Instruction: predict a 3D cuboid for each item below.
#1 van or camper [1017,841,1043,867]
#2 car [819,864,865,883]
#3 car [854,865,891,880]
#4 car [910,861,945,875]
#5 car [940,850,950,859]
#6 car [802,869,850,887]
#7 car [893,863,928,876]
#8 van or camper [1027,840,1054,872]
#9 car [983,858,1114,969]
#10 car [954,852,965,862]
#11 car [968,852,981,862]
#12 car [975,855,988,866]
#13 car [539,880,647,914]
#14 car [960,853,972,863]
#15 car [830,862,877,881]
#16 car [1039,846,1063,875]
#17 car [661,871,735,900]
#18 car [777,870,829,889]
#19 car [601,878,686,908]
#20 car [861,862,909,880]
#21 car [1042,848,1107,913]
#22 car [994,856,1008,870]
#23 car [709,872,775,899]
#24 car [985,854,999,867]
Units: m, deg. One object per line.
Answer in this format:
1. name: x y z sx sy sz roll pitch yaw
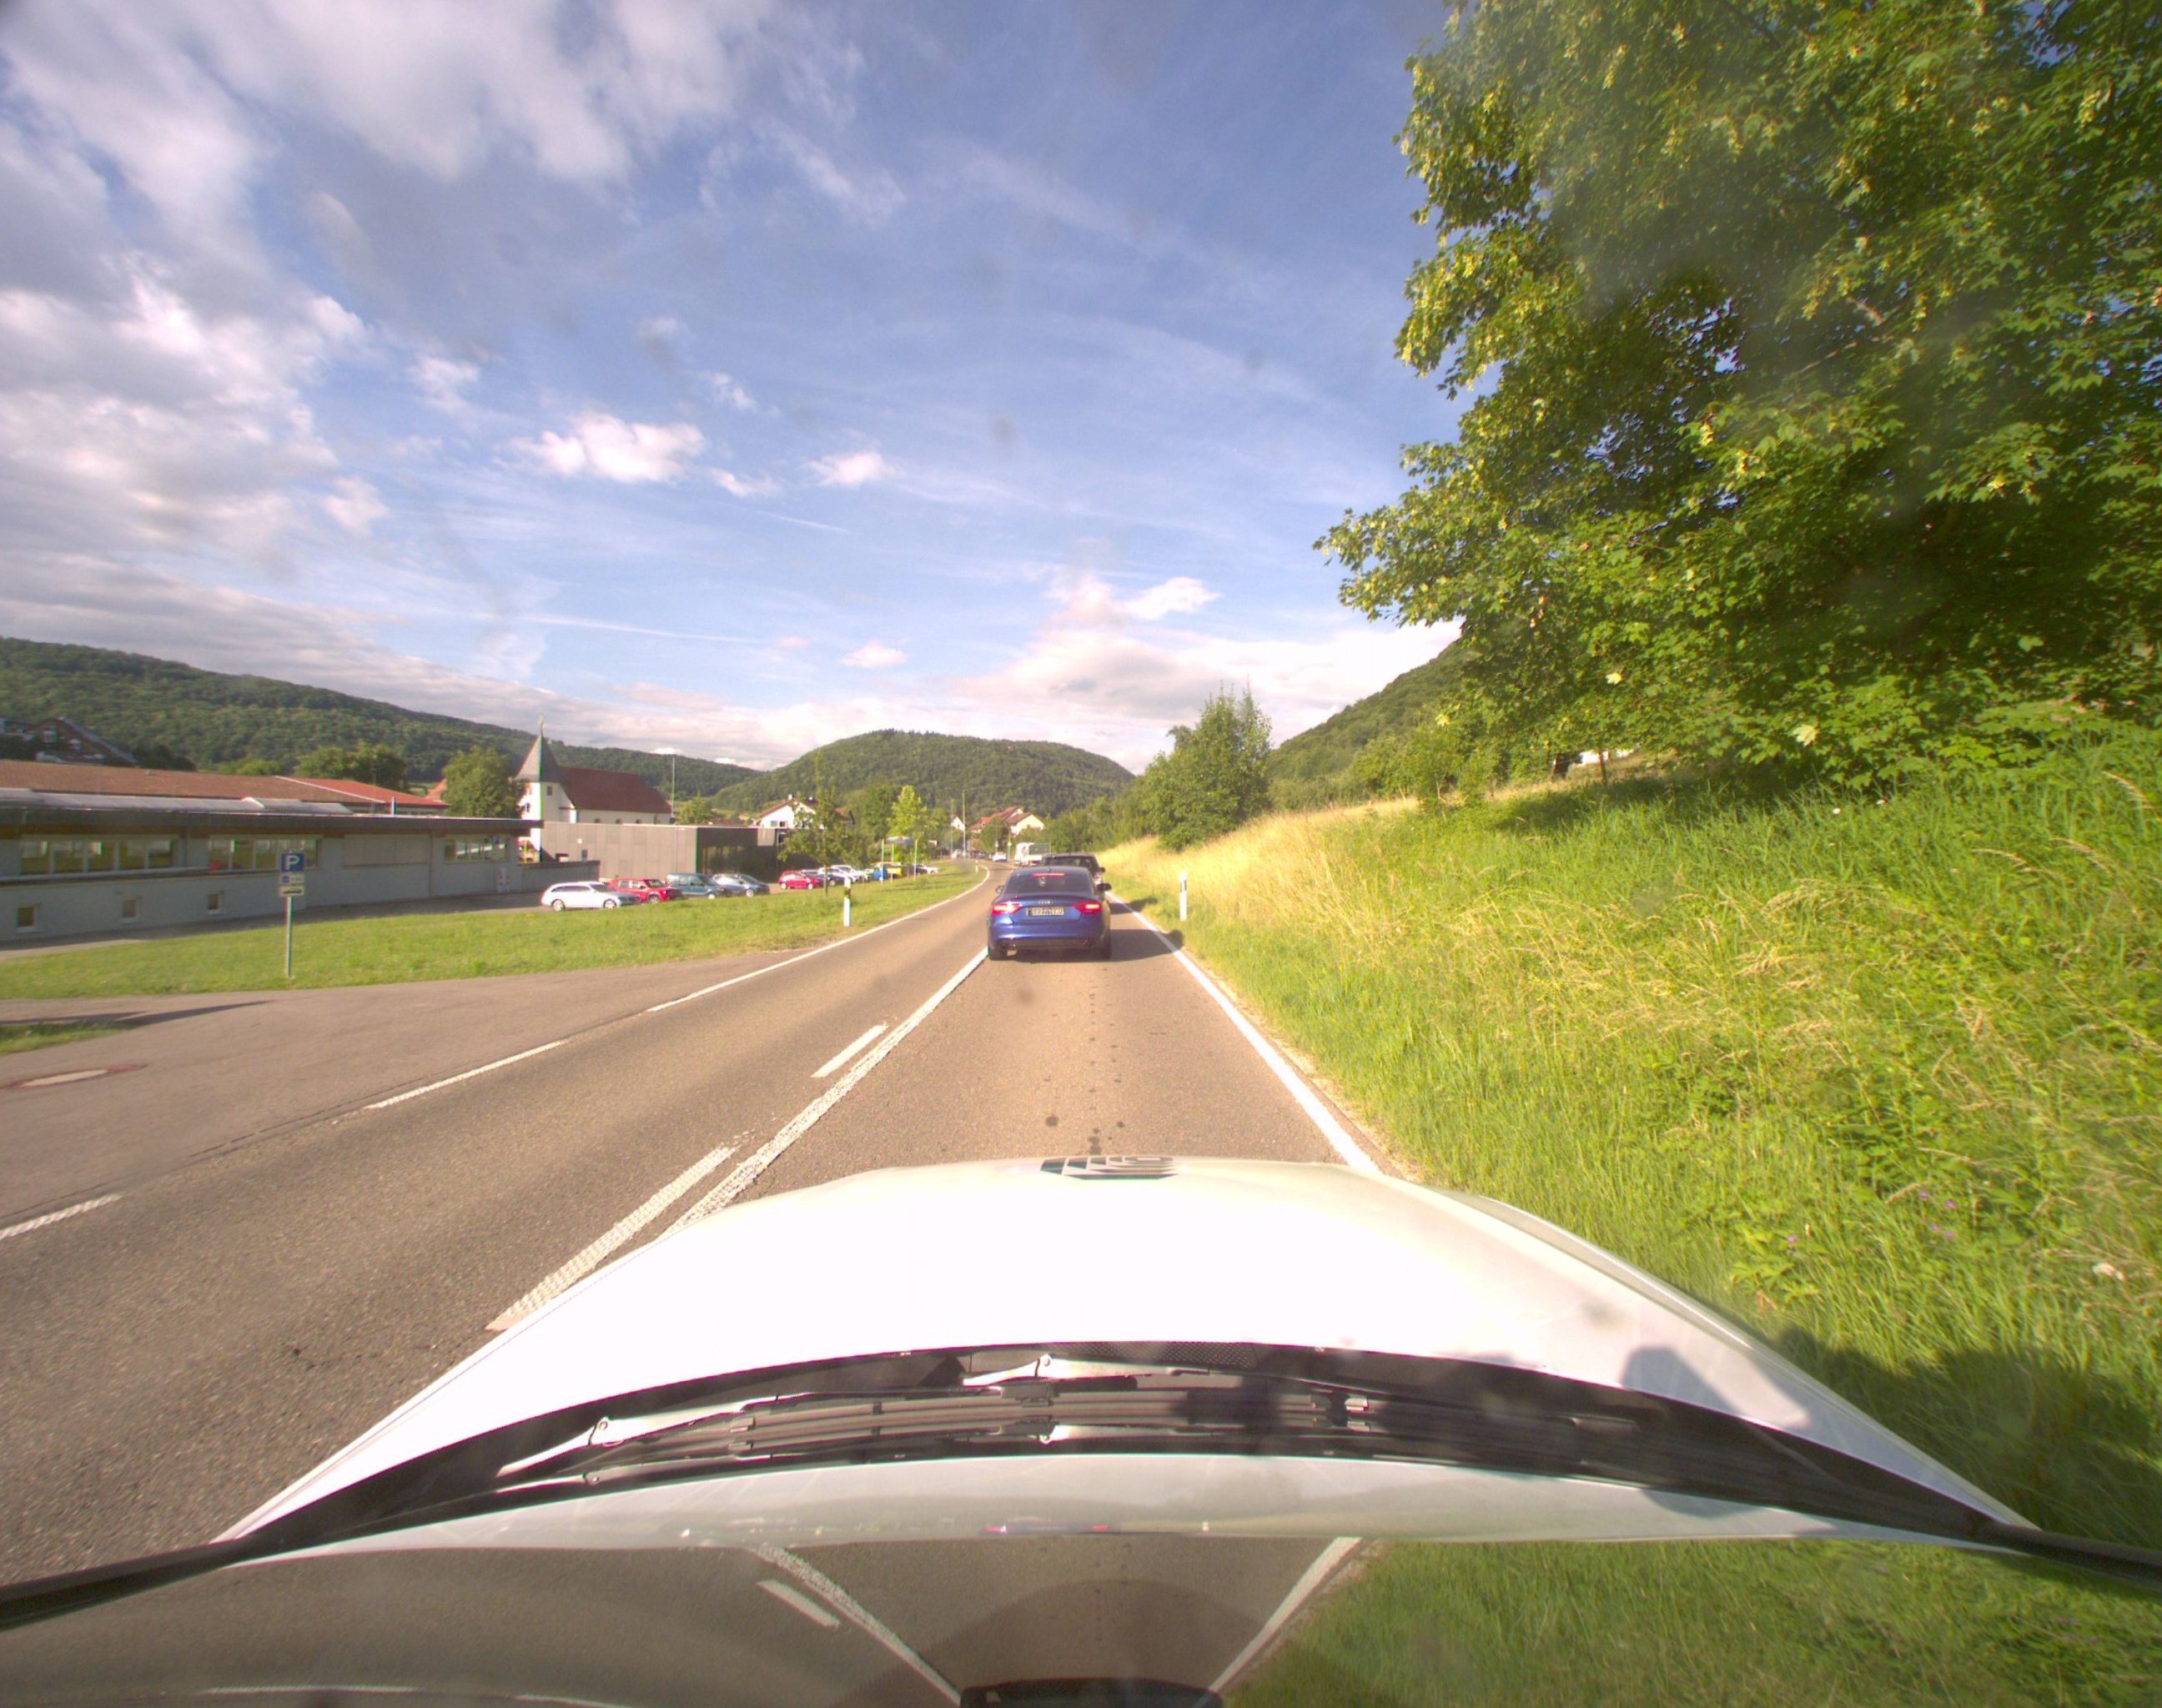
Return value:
1. van or camper: -5.573 0.035 87.801 2.279 2.714 5.751 -2 0 -8
2. car: -21.972 1.795 74.937 3.647 1.493 1.600 -2 2 6
3. car: -21.524 1.916 84.263 3.359 1.373 1.659 -2 0 -1
4. car: -19.102 1.725 101.395 4.015 1.660 1.659 -2 0 6
5. car: -32.673 0.134 195.475 1.682 1.924 3.975 -2 0 -18
6. car: -22.380 2.114 71.588 3.606 1.405 1.600 -2 2 6
7. car: -20.322 1.866 96.964 3.693 1.439 1.512 -2 0 6
8. van or camper: -3.432 0.190 68.613 2.049 2.505 5.801 -2 0 -5
9. car: -0.491 0.821 12.905 1.738 1.450 3.514 -2 0 -2
10. car: -26.420 0.691 177.097 1.683 1.924 3.973 -2 0 -20
11. car: -20.456 0.541 156.529 1.681 1.924 3.976 -2 0 -17
12. car: -18.082 1.220 147.346 1.663 1.924 3.978 -2 0 -16
13. car: -26.010 2.271 43.483 4.618 1.589 2.003 -2 0 5
14. car: -23.718 0.753 167.821 1.682 1.924 3.975 -2 0 -18
15. car: -21.859 1.714 78.337 4.056 1.673 1.599 -2 0 6
16. car: -2.186 0.454 58.713 1.564 2.013 3.996 -2 0 -3
17. car: -24.384 1.981 51.957 3.845 1.722 1.757 -1 0 3
18. car: -22.767 2.083 66.712 3.606 1.444 1.651 -2 0 6
19. car: -24.877 2.204 46.362 3.900 1.579 1.758 -2 0 5
20. car: -20.905 1.828 86.895 4.529 1.815 1.844 -2 0 6
21. car: -0.184 0.670 22.269 1.640 1.625 3.515 0 0 -1
22. car: -11.993 1.309 121.577 1.660 1.924 3.985 -2 0 -11
23. car: -23.541 2.155 56.586 3.799 1.722 1.735 -2 0 5
24. car: -14.601 1.055 133.405 1.661 1.924 3.982 -2 0 -13
